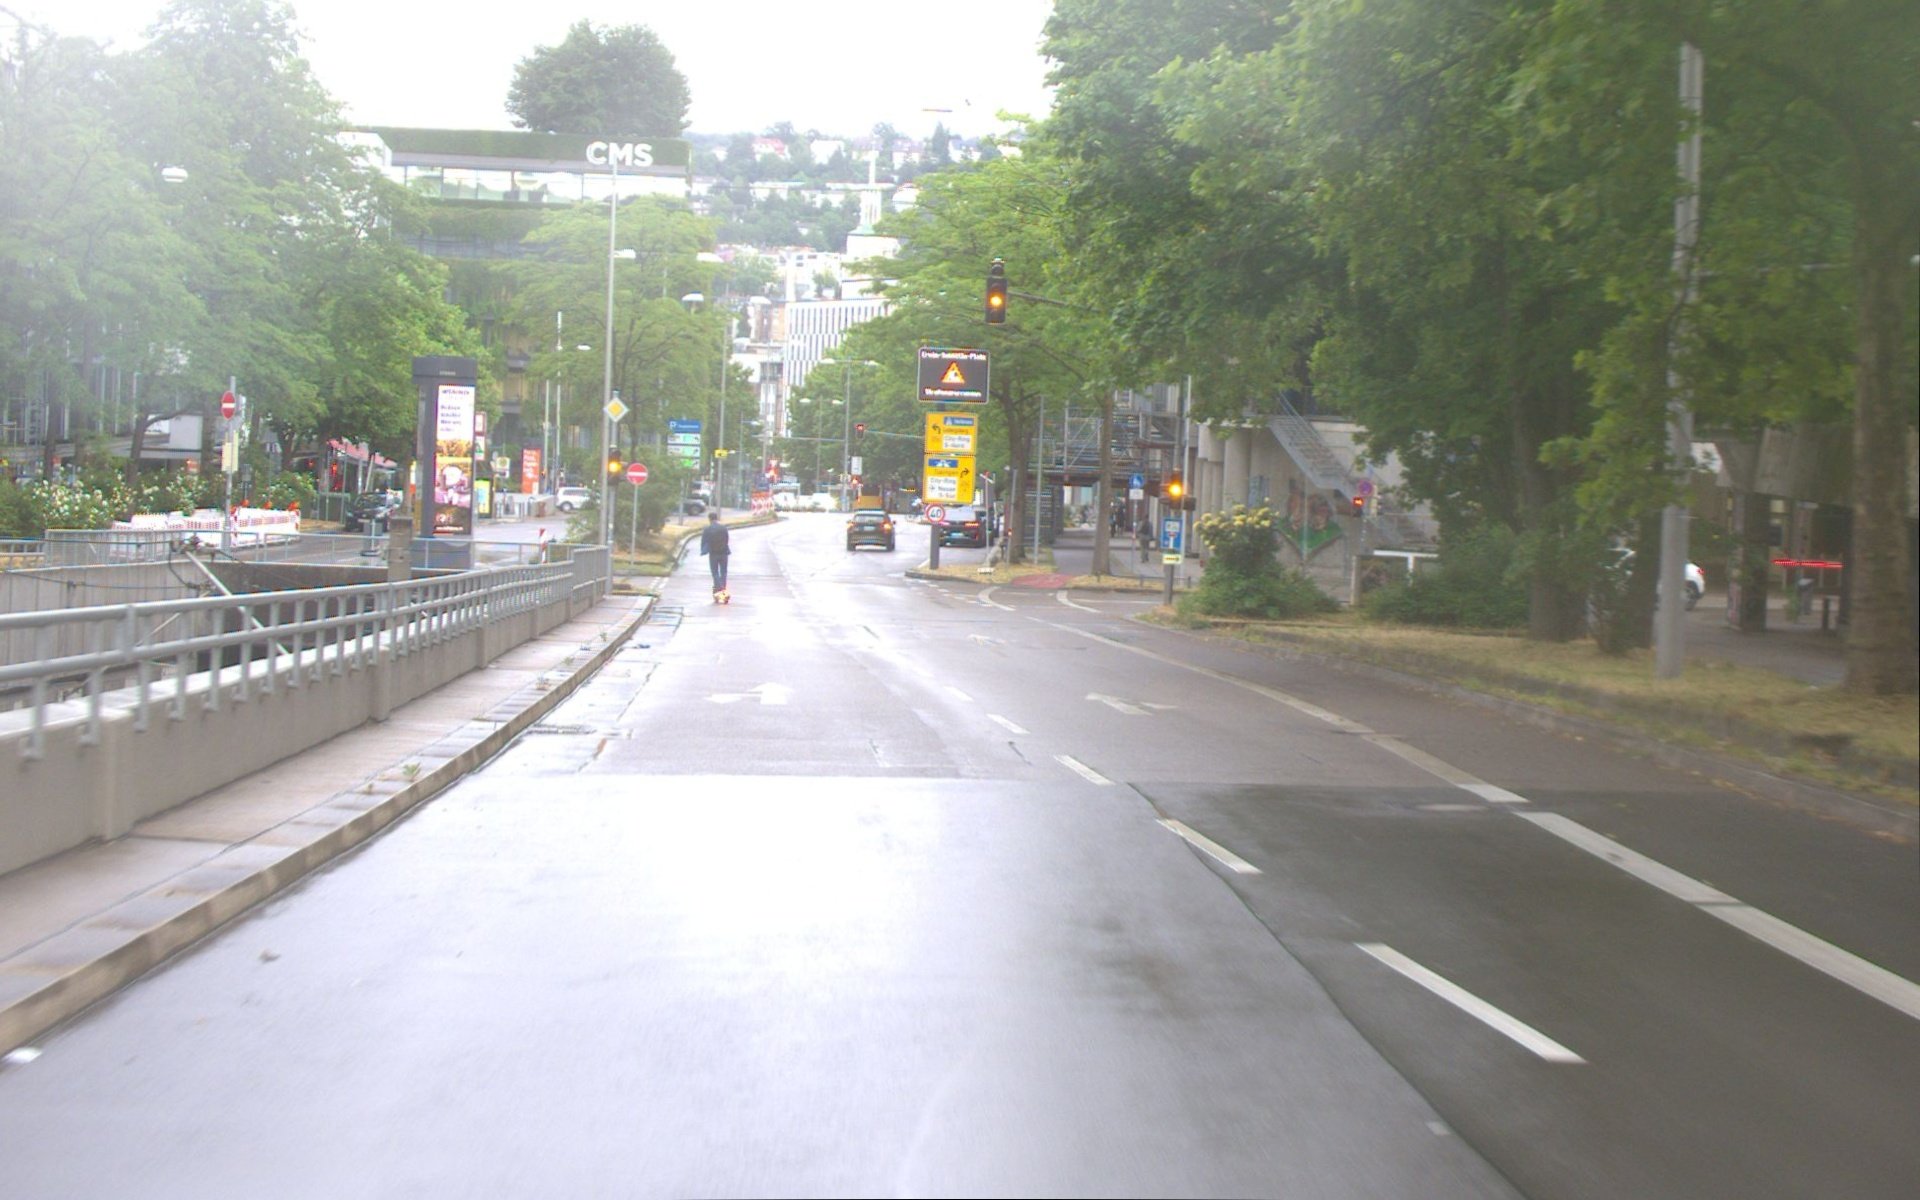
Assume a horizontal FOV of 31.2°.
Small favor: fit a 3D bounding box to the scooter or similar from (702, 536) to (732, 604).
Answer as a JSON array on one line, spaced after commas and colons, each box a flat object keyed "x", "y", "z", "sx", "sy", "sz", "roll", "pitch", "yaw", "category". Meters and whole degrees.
[{"x": -5.290, "y": -0.664, "z": 74.691, "sx": 0.546, "sy": 1.413, "sz": 1.956, "roll": 3, "pitch": 1, "yaw": -5, "category": "scooter or similar"}]

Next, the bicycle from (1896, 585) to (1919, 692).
[{"x": 10.423, "y": 0.420, "z": 35.852, "sx": 0.807, "sy": 1.108, "sz": 2.198, "roll": 2, "pitch": 1, "yaw": 3, "category": "bicycle"}]

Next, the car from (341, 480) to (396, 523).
[{"x": -24.343, "y": -4.081, "z": 141.541, "sx": 1.780, "sy": 1.550, "sz": 3.895, "roll": 3, "pitch": 3, "yaw": -5, "category": "car"}]

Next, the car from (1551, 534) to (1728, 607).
[{"x": 17.765, "y": -0.771, "z": 89.887, "sx": 4.342, "sy": 1.678, "sz": 1.752, "roll": 2, "pitch": 1, "yaw": -28, "category": "car"}]

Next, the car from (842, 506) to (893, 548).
[{"x": -3.568, "y": -2.824, "z": 132.501, "sx": 1.746, "sy": 1.514, "sz": 4.107, "roll": 3, "pitch": 1, "yaw": -4, "category": "car"}]

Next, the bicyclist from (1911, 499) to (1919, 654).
[{"x": 10.439, "y": -0.231, "z": 35.731, "sx": 0.807, "sy": 1.622, "sz": 1.046, "roll": 2, "pitch": 1, "yaw": 3, "category": "bicyclist"}]

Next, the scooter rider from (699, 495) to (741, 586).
[{"x": -5.229, "y": -1.298, "z": 74.787, "sx": 0.808, "sy": 1.941, "sz": 0.822, "roll": 3, "pitch": 1, "yaw": -5, "category": "scooter rider"}]

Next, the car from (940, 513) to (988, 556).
[{"x": 0.189, "y": -2.745, "z": 143.203, "sx": 1.901, "sy": 1.678, "sz": 3.911, "roll": 3, "pitch": 1, "yaw": 0, "category": "car"}]
